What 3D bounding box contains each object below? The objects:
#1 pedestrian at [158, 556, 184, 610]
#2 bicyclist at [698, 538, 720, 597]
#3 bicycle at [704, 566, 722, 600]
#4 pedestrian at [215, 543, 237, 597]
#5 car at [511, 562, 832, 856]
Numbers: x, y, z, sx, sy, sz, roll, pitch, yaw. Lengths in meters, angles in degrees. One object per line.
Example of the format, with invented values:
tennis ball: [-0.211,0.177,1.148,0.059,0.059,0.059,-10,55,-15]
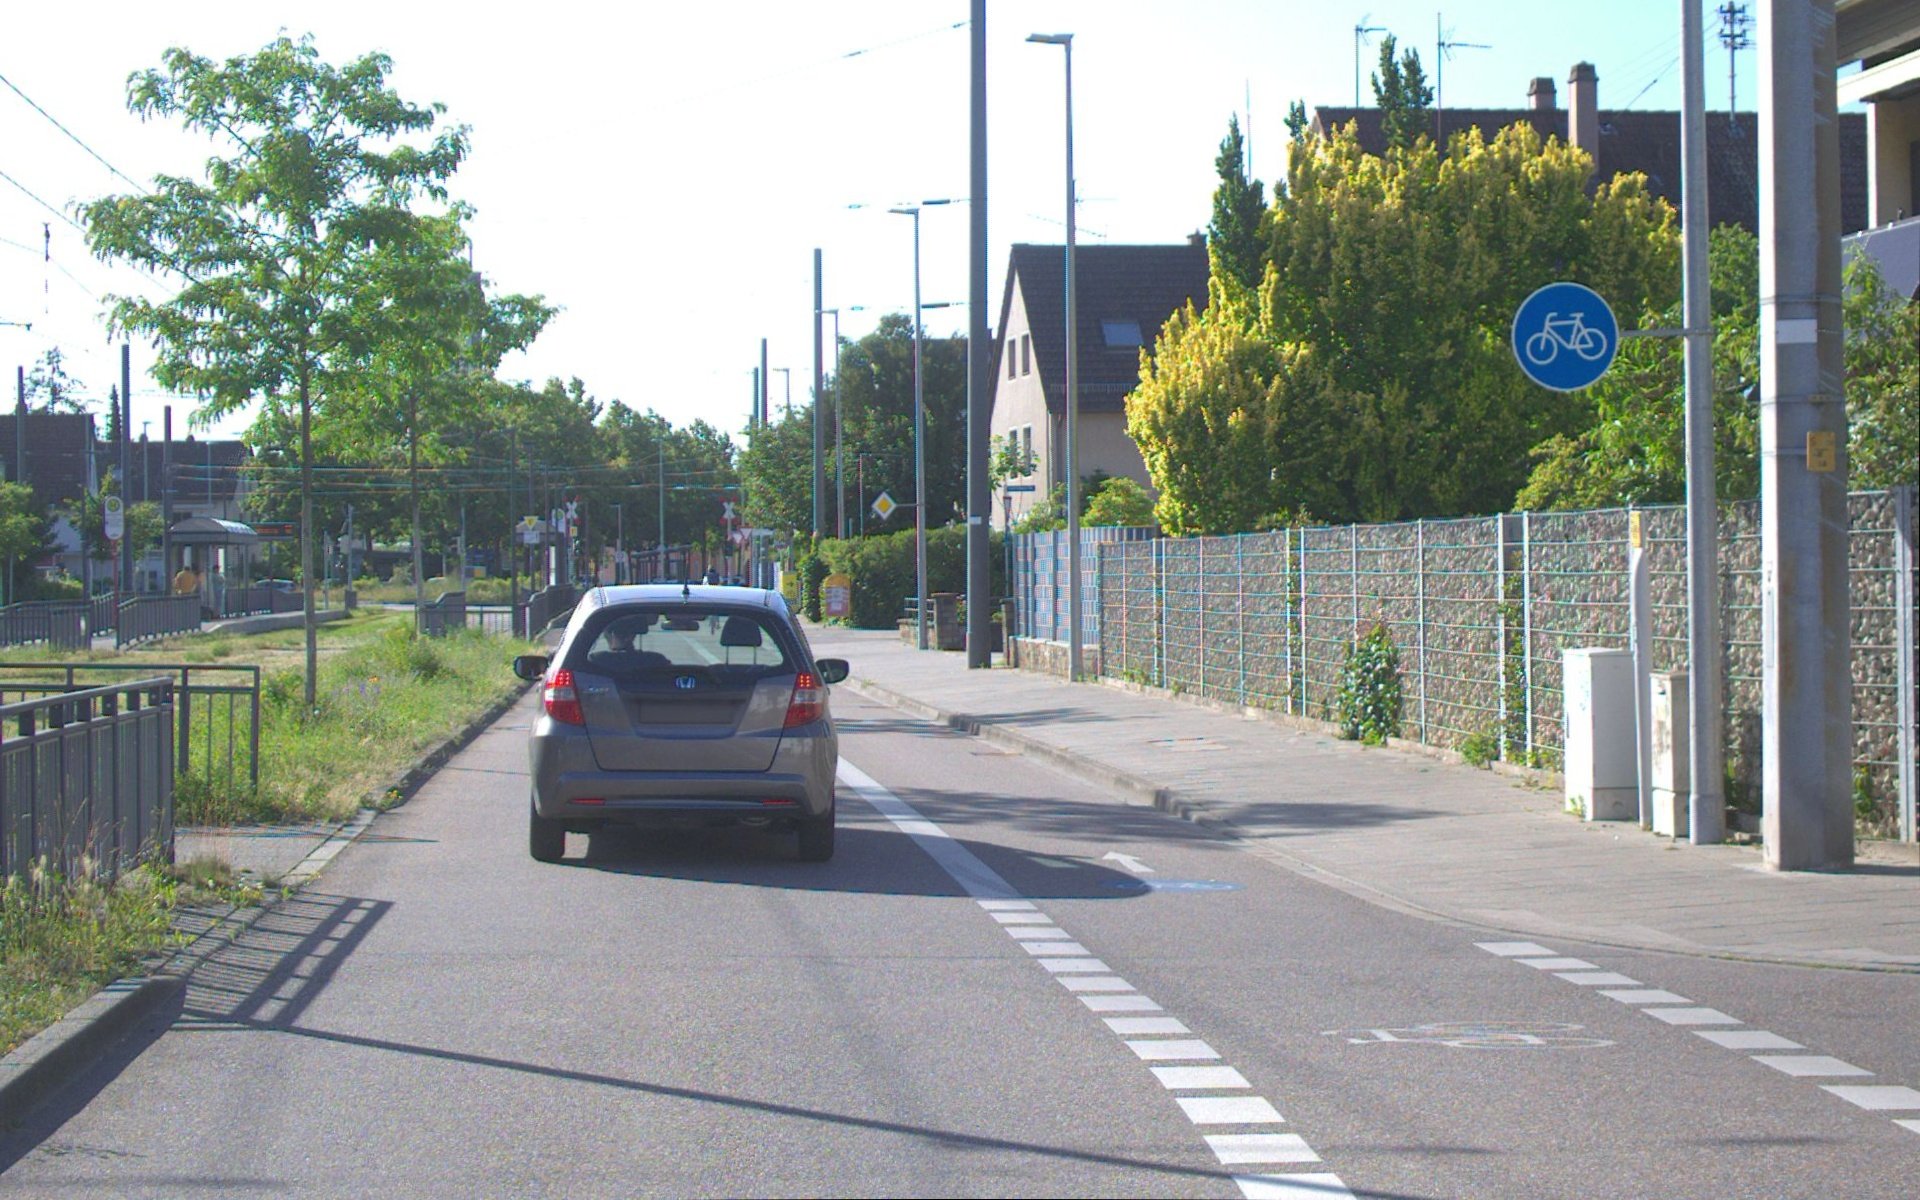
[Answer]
pedestrian: [-22.633,-0.495,98.576,0.675,1.530,0.749,-1,1,-10]
bicyclist: [-7.231,-0.933,99.161,0.598,1.696,0.683,1,0,-5]
bicycle: [-7.136,-0.493,99.371,0.475,0.958,1.657,1,0,-5]
pedestrian: [-23.189,-0.948,108.581,0.500,1.690,0.771,-3,1,-5]
car: [-1.601,0.559,19.832,1.670,1.530,3.487,1,0,-3]
